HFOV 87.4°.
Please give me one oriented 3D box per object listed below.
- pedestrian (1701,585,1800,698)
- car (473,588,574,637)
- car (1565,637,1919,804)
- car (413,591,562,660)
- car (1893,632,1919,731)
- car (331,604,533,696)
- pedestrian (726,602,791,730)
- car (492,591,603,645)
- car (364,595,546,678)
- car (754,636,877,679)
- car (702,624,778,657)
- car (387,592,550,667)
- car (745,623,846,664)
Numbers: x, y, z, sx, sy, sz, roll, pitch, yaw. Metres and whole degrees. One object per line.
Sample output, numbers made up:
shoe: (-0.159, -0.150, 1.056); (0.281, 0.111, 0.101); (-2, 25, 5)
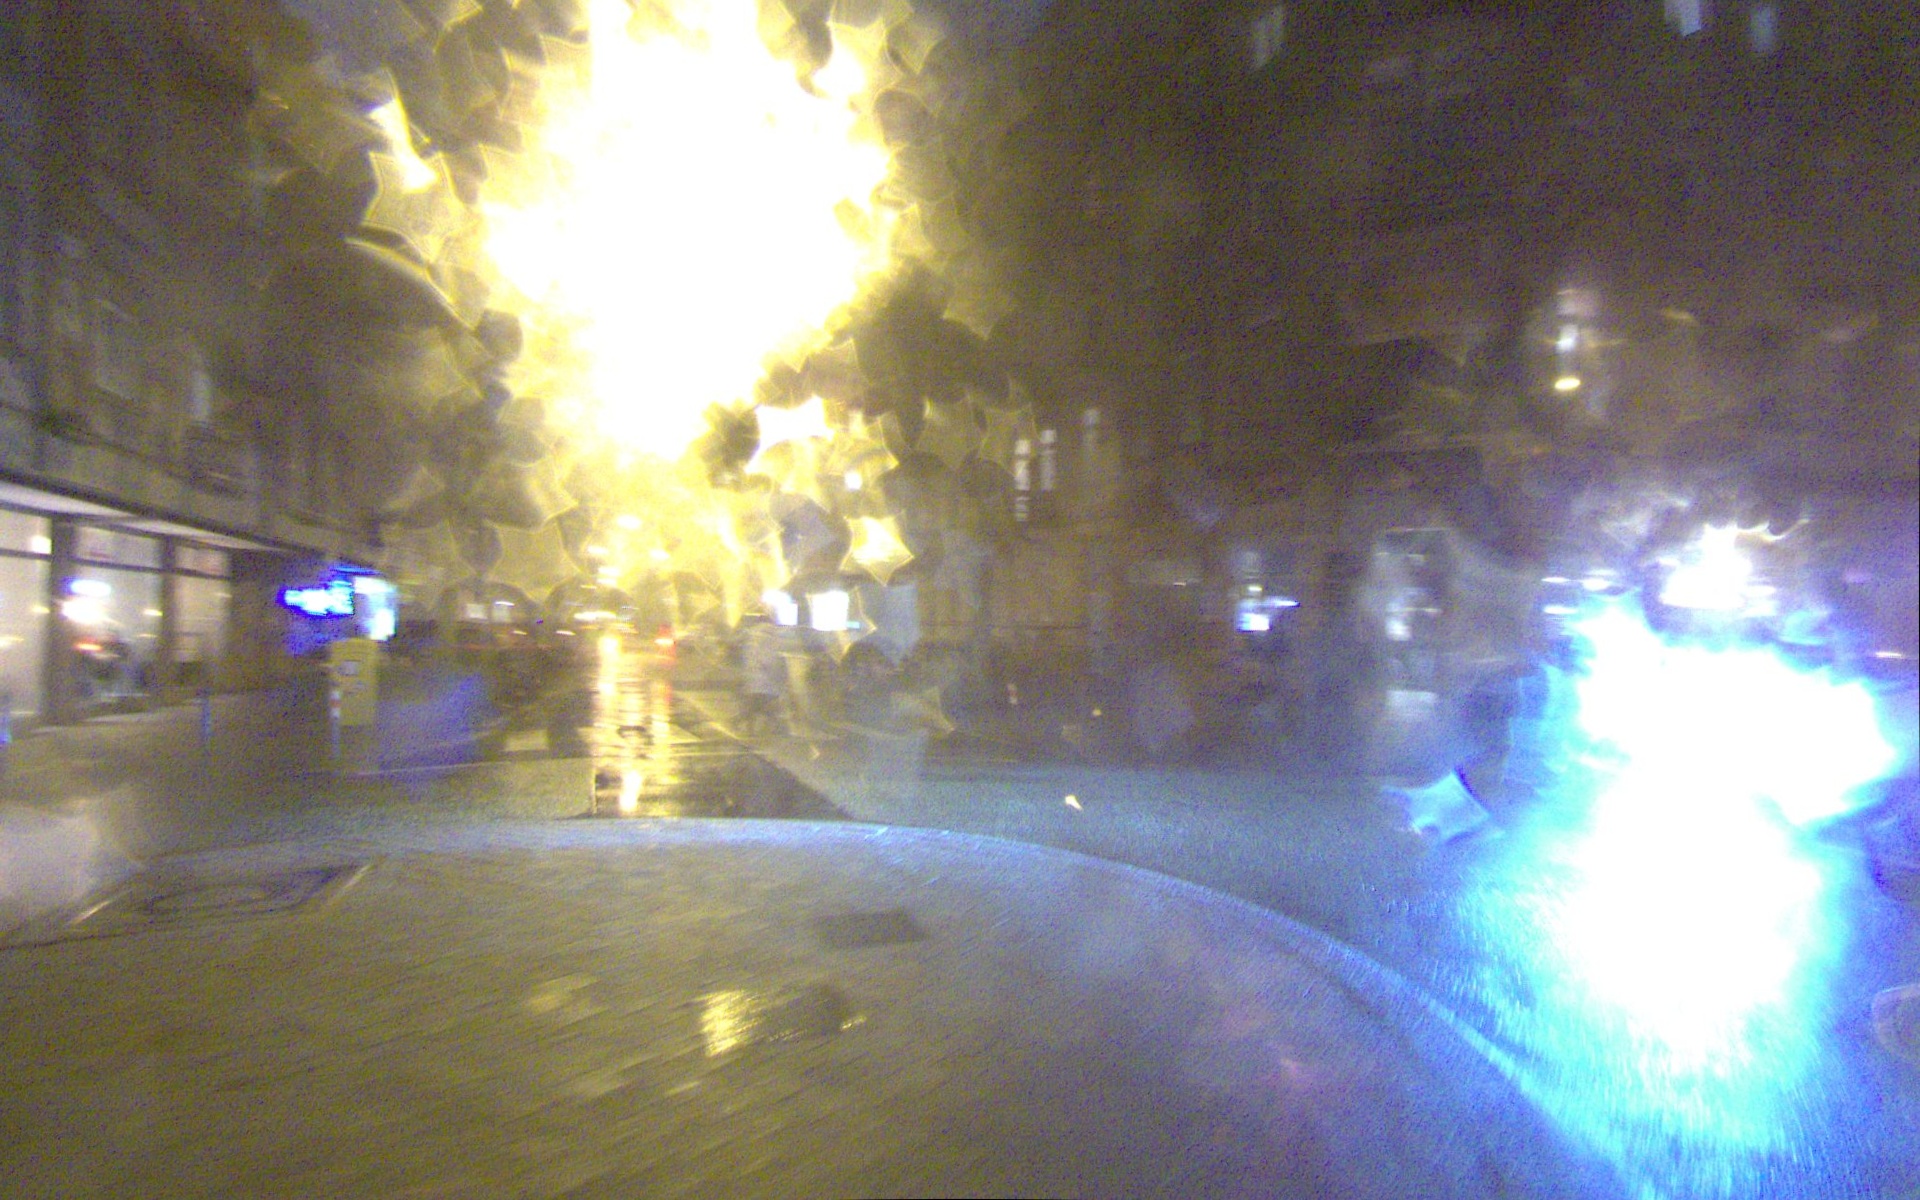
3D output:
pedestrian: (12.971, 0.667, 16.508); (0.999, 1.789, 0.804); (1, 1, -15)
car: (-19.080, 0.545, 43.928); (3.948, 2.041, 1.986); (1, 1, -27)
car: (8.380, 1.112, 10.164); (4.002, 1.446, 1.563); (0, -2, -16)
car: (-14.719, 0.792, 31.524); (3.936, 2.041, 1.992); (1, 1, -18)
car: (16.596, 1.281, 15.522); (3.964, 1.483, 1.583); (0, 2, -21)
car: (-12.524, 1.168, 24.126); (3.936, 2.041, 1.992); (1, 1, -18)
pedestrian: (-3.036, 0.991, 15.220); (0.929, 1.882, 0.798); (0, -2, -8)
car: (-16.265, 0.679, 39.598); (3.948, 2.041, 1.986); (0, 1, -27)
car: (-13.089, 0.936, 26.317); (3.936, 2.041, 1.992); (1, 1, -18)
car: (-4.584, 1.791, 31.825); (3.662, 1.292, 1.585); (0, -2, -19)
car: (-11.179, 2.057, 51.027); (3.615, 1.649, 1.585); (0, -2, -19)
car: (-14.104, 0.850, 29.101); (3.936, 2.041, 1.992); (1, 1, -18)
car: (-5.995, 1.558, 36.503); (3.408, 1.422, 1.585); (0, -2, -19)
